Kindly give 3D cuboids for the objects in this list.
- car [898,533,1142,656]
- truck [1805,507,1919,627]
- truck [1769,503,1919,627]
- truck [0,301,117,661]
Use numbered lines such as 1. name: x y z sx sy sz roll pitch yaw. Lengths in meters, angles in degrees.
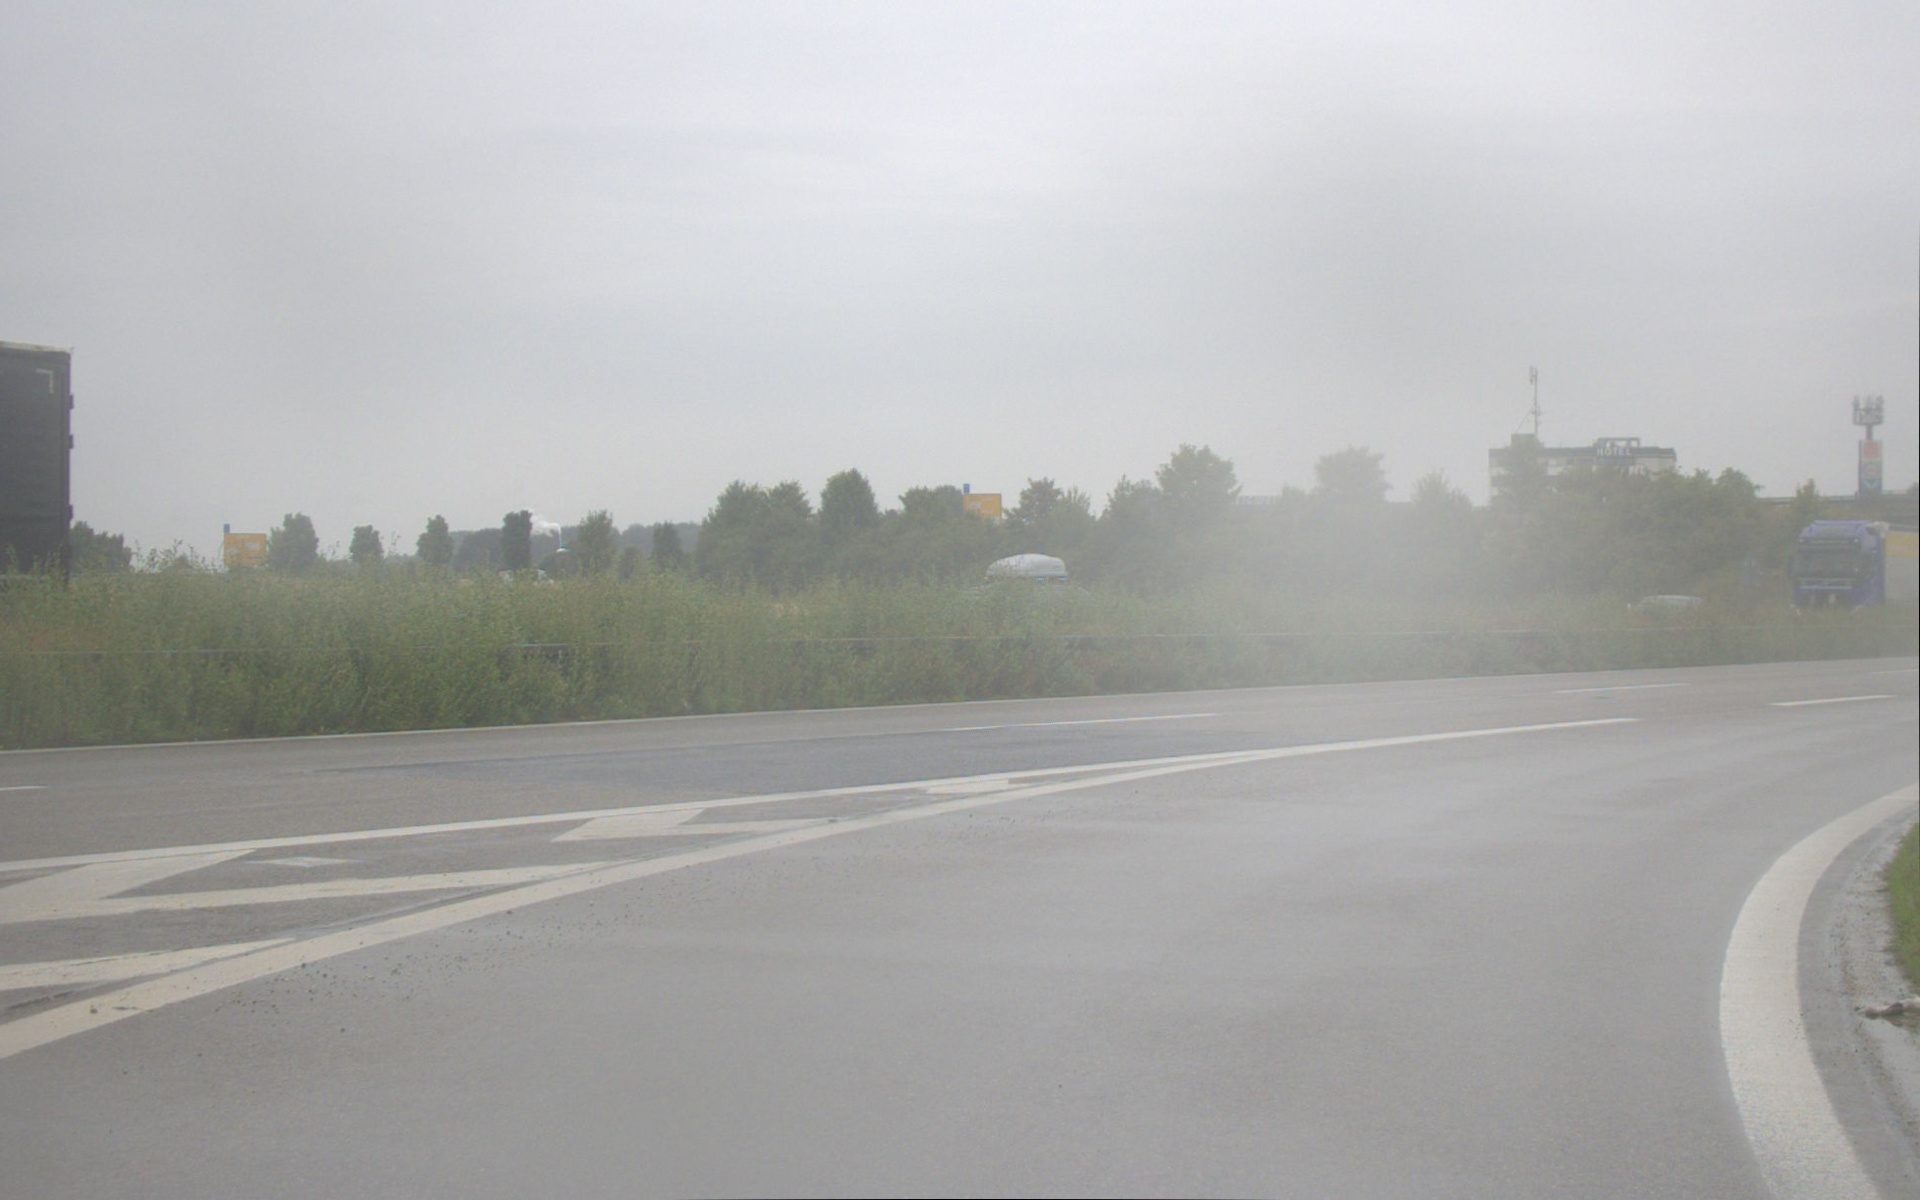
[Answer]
1. car: 1.030 -0.092 56.184 2.108 1.869 4.524 2 1 28
2. truck: 34.204 -1.114 124.180 3.199 3.953 15.293 3 1 28
3. truck: 29.975 -1.152 116.358 3.199 3.953 6.652 3 1 28
4. truck: -14.405 -1.398 34.008 3.199 3.953 13.791 3 1 28
